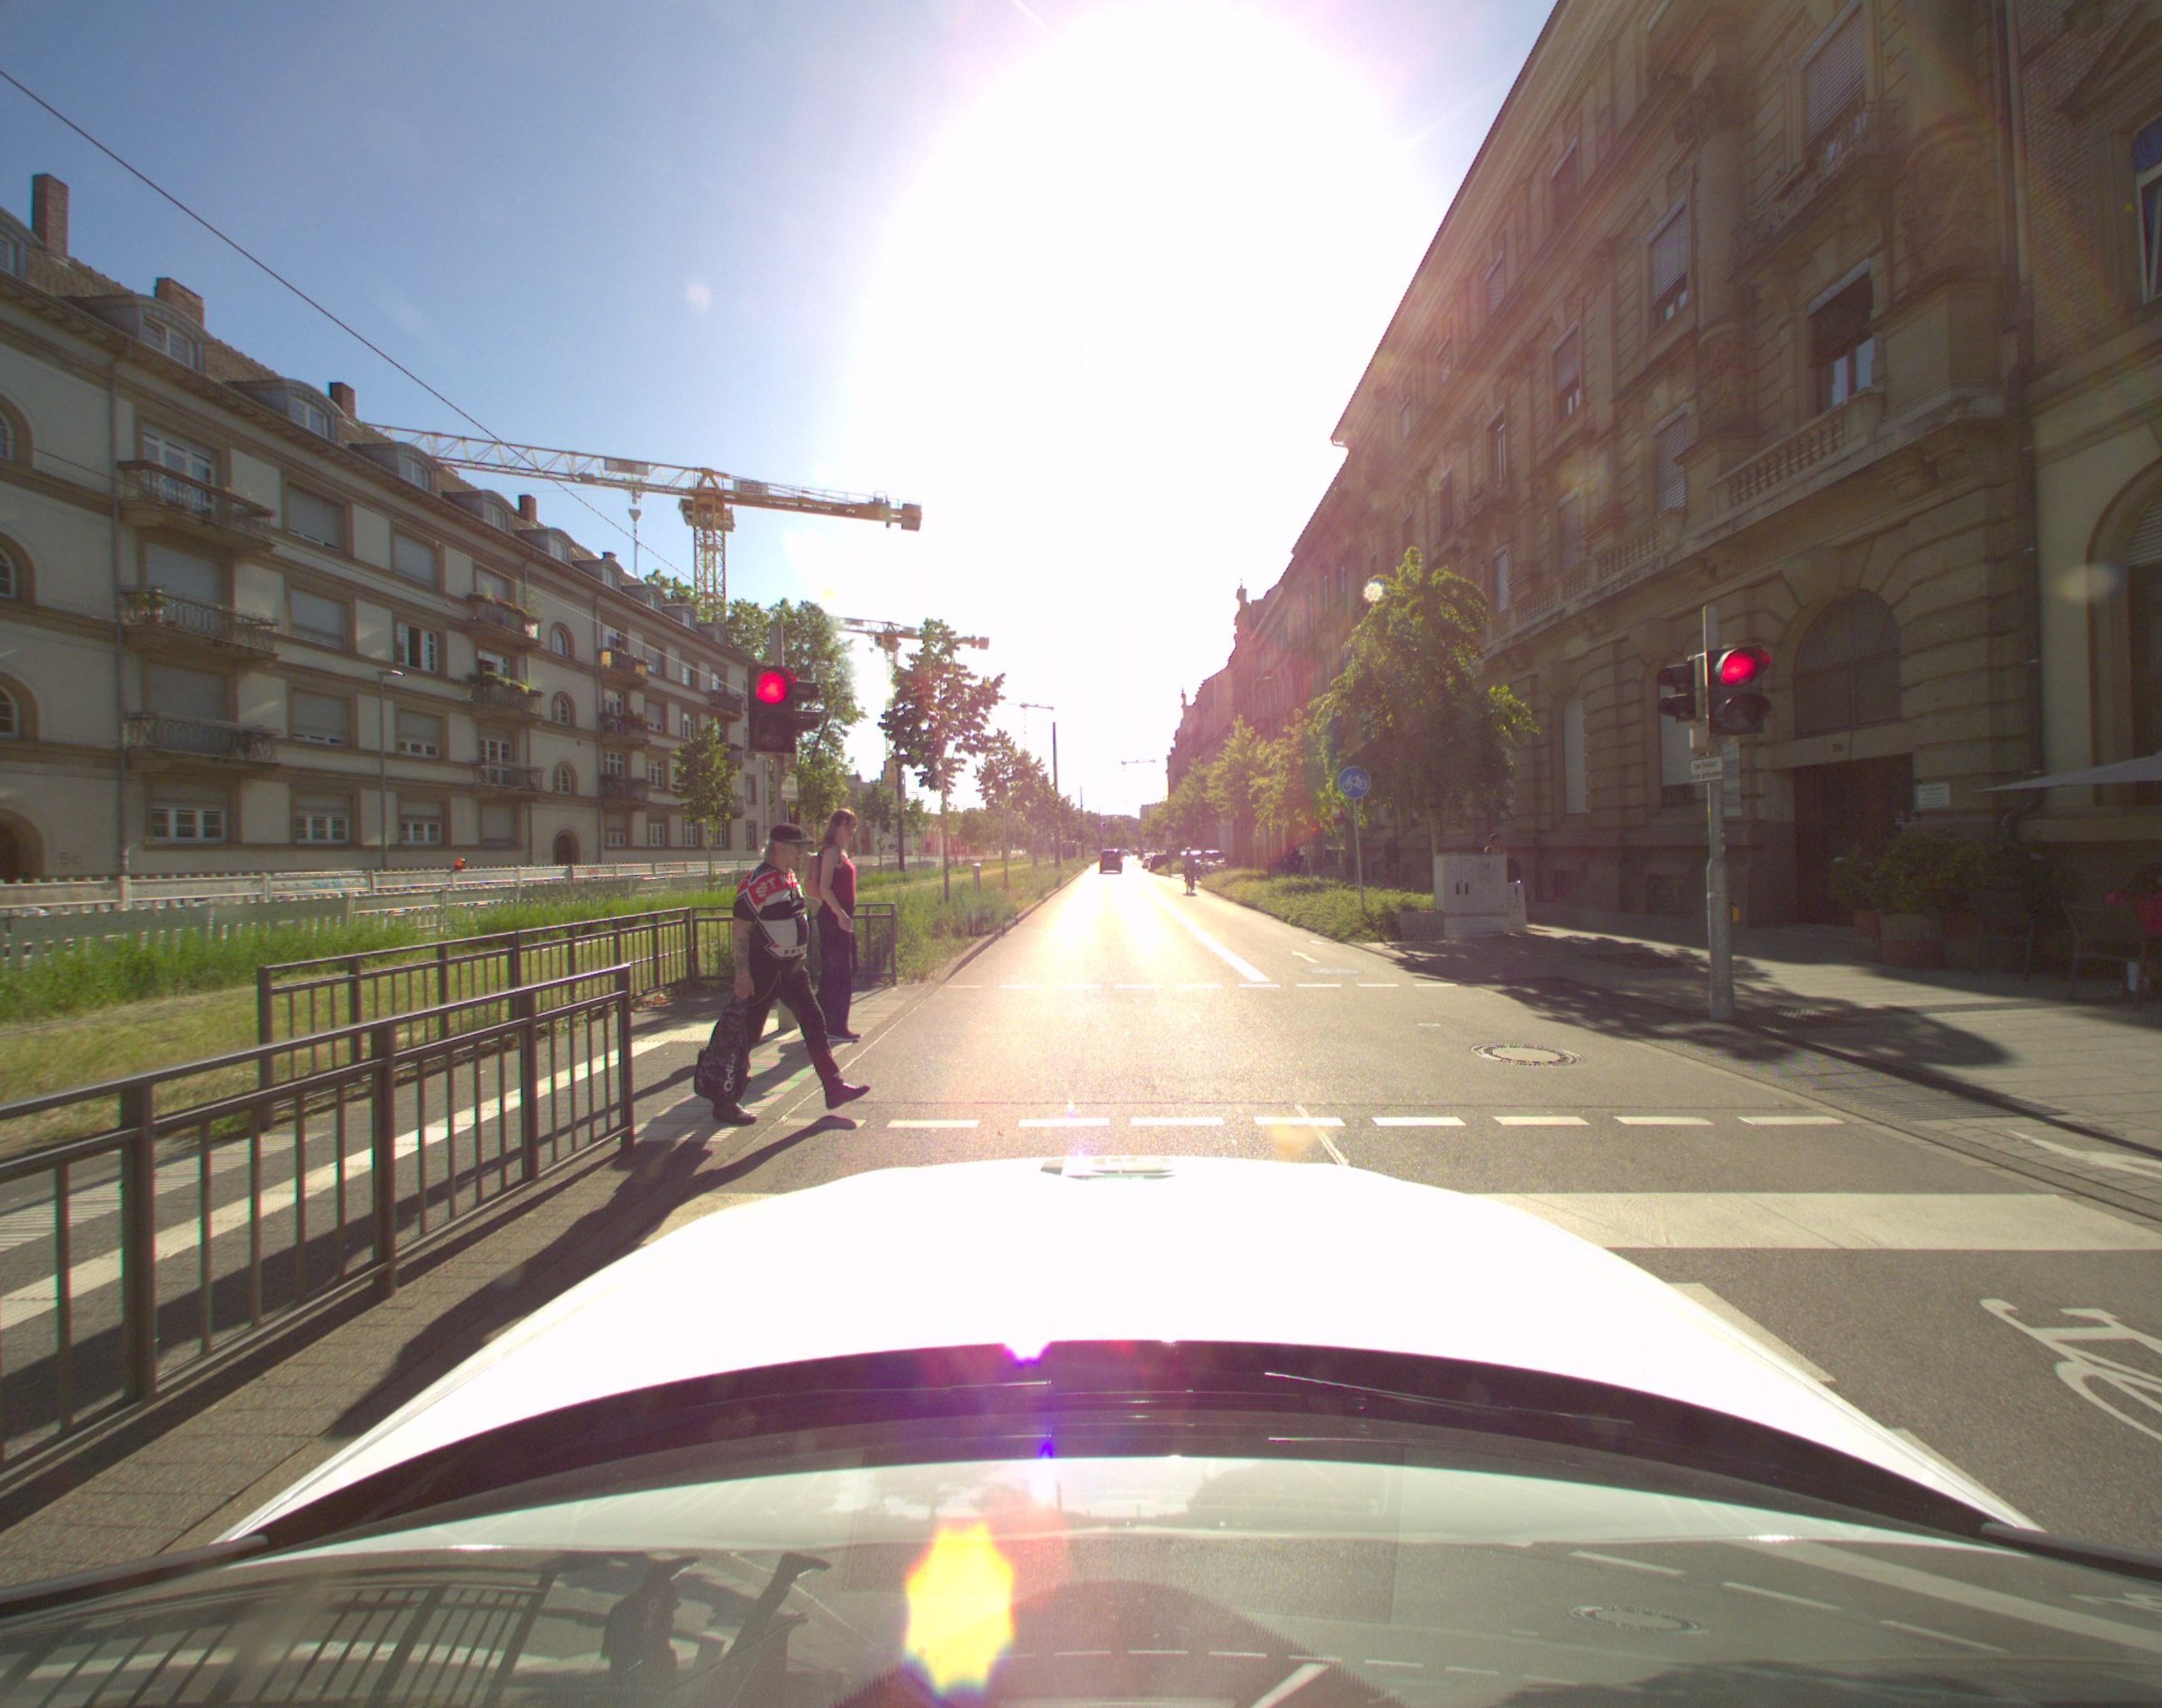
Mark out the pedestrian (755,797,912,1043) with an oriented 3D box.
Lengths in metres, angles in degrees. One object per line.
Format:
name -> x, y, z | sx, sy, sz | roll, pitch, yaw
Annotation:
pedestrian -> -2.022, 0.515, 6.767 | 1.073, 1.908, 0.652 | -2, 0, -5

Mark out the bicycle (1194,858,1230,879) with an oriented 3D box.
bicycle -> 6.844, 0.777, 42.469 | 1.786, 1.030, 0.528 | -2, 0, 1

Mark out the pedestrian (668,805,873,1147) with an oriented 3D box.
pedestrian -> -1.763, 0.636, 4.795 | 0.863, 1.788, 0.969 | -1, 0, -5

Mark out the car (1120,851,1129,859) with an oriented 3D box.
car -> 10.162, 0.174, 189.149 | 1.986, 1.729, 4.001 | 0, -1, 2

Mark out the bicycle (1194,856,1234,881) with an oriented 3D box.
bicycle -> 6.460, 0.682, 39.583 | 1.786, 1.030, 0.528 | -6, 0, 1

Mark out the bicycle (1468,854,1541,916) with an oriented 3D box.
bicycle -> 8.964, 0.624, 17.323 | 0.581, 1.222, 1.901 | -1, 0, 2

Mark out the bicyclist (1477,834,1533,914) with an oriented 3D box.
bicyclist -> 8.988, 0.408, 17.286 | 0.664, 1.639, 0.961 | -2, 0, 1

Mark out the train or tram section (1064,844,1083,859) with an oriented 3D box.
train or tram section -> -1.304, -0.424, 148.102 | 2.745, 2.743, 9.870 | 0, 0, 3

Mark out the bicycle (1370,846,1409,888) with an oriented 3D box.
bicycle -> 10.498, 0.412, 27.778 | 0.613, 1.330, 1.901 | -6, 0, 3

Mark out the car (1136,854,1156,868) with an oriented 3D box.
car -> 7.327, 0.775, 92.306 | 2.020, 1.499, 4.532 | -2, 0, 2

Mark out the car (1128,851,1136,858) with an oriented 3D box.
car -> 13.734, 0.041, 220.111 | 1.986, 1.838, 4.001 | 0, -1, 2

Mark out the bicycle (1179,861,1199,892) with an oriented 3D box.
bicycle -> 4.333, 0.885, 32.650 | 0.599, 1.181, 1.870 | 0, 0, 1

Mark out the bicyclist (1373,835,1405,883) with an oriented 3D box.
bicyclist -> 10.460, 0.170, 27.659 | 0.657, 1.530, 0.801 | -6, 0, 3

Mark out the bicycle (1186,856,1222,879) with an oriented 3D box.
bicycle -> 6.605, 0.718, 43.901 | 1.786, 1.030, 0.528 | -6, 0, 1

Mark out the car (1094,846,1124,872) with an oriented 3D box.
car -> 2.196, 0.384, 63.716 | 2.192, 1.926, 4.655 | -2, 0, 2

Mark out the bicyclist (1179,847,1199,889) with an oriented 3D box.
bicyclist -> 4.348, 0.559, 32.757 | 0.682, 1.673, 0.922 | 0, 0, 1

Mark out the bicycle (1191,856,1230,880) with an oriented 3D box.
bicycle -> 6.499, 0.693, 40.957 | 1.786, 1.030, 0.528 | -6, 0, 1

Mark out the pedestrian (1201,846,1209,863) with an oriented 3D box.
pedestrian -> 12.464, 0.059, 81.871 | 0.611, 1.611, 0.669 | -2, 0, 1

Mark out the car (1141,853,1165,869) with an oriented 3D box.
car -> 6.984, 0.689, 79.778 | 2.020, 1.499, 4.532 | -2, 0, 2

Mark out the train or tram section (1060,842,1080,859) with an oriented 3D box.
train or tram section -> -1.798, -0.503, 138.260 | 2.745, 2.743, 9.870 | 0, 0, 3

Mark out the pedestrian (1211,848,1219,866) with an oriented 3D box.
pedestrian -> 11.854, 0.276, 71.987 | 0.611, 1.611, 0.669 | -2, 0, 1

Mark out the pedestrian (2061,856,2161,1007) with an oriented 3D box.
pedestrian -> 9.102, 0.630, 6.926 | 0.703, 1.178, 0.635 | -3, 0, 1

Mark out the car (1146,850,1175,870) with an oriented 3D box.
car -> 6.528, 0.463, 67.409 | 2.020, 1.499, 4.655 | -2, 0, 2

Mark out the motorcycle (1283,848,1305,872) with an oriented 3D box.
motorcycle -> 11.493, 0.327, 44.030 | 0.697, 1.267, 1.983 | -2, 0, 2
